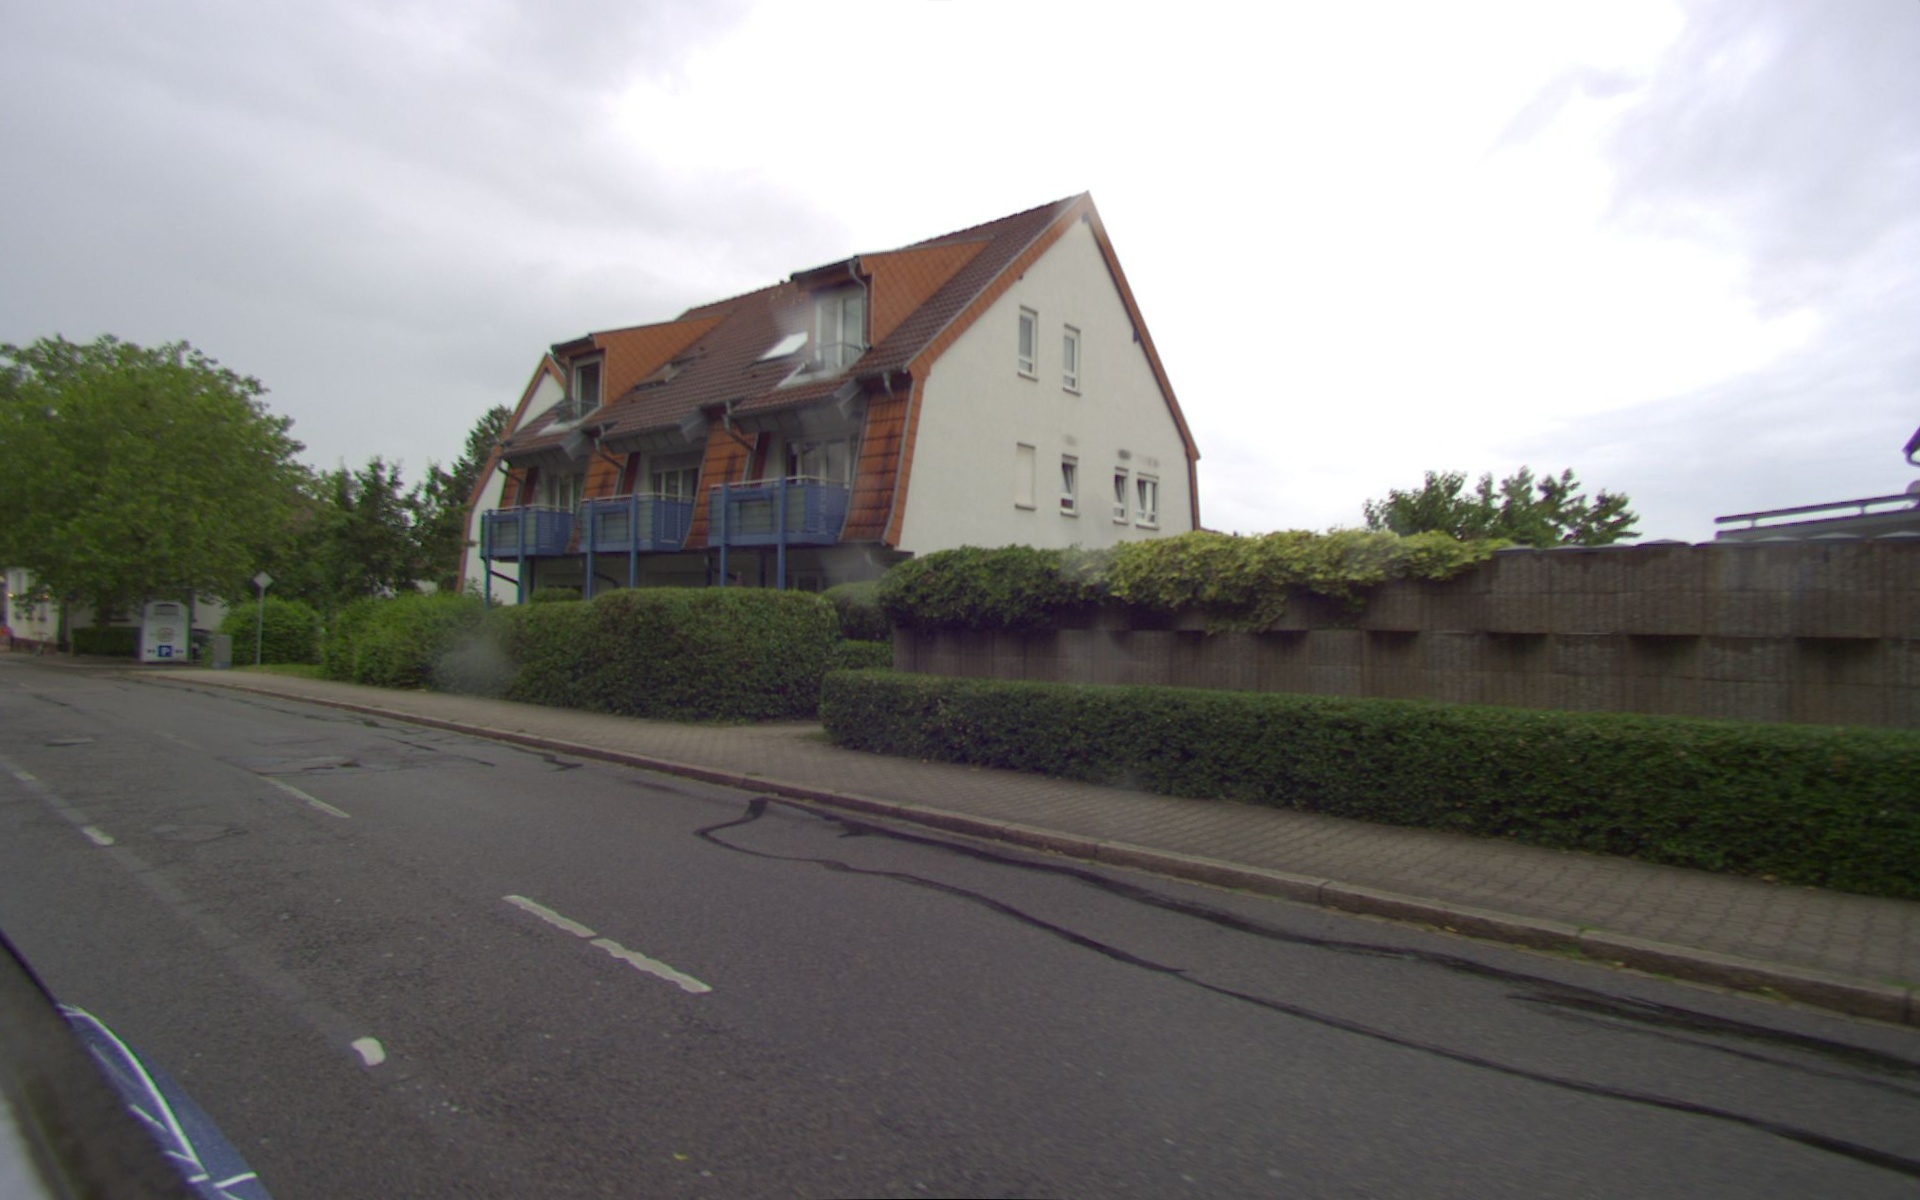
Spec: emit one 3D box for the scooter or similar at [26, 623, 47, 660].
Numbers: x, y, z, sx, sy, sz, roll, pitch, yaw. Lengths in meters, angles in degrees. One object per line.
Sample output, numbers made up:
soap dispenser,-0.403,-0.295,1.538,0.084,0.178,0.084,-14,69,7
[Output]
scooter or similar,-45.782,2.036,50.172,1.509,1.788,0.397,0,-1,34
